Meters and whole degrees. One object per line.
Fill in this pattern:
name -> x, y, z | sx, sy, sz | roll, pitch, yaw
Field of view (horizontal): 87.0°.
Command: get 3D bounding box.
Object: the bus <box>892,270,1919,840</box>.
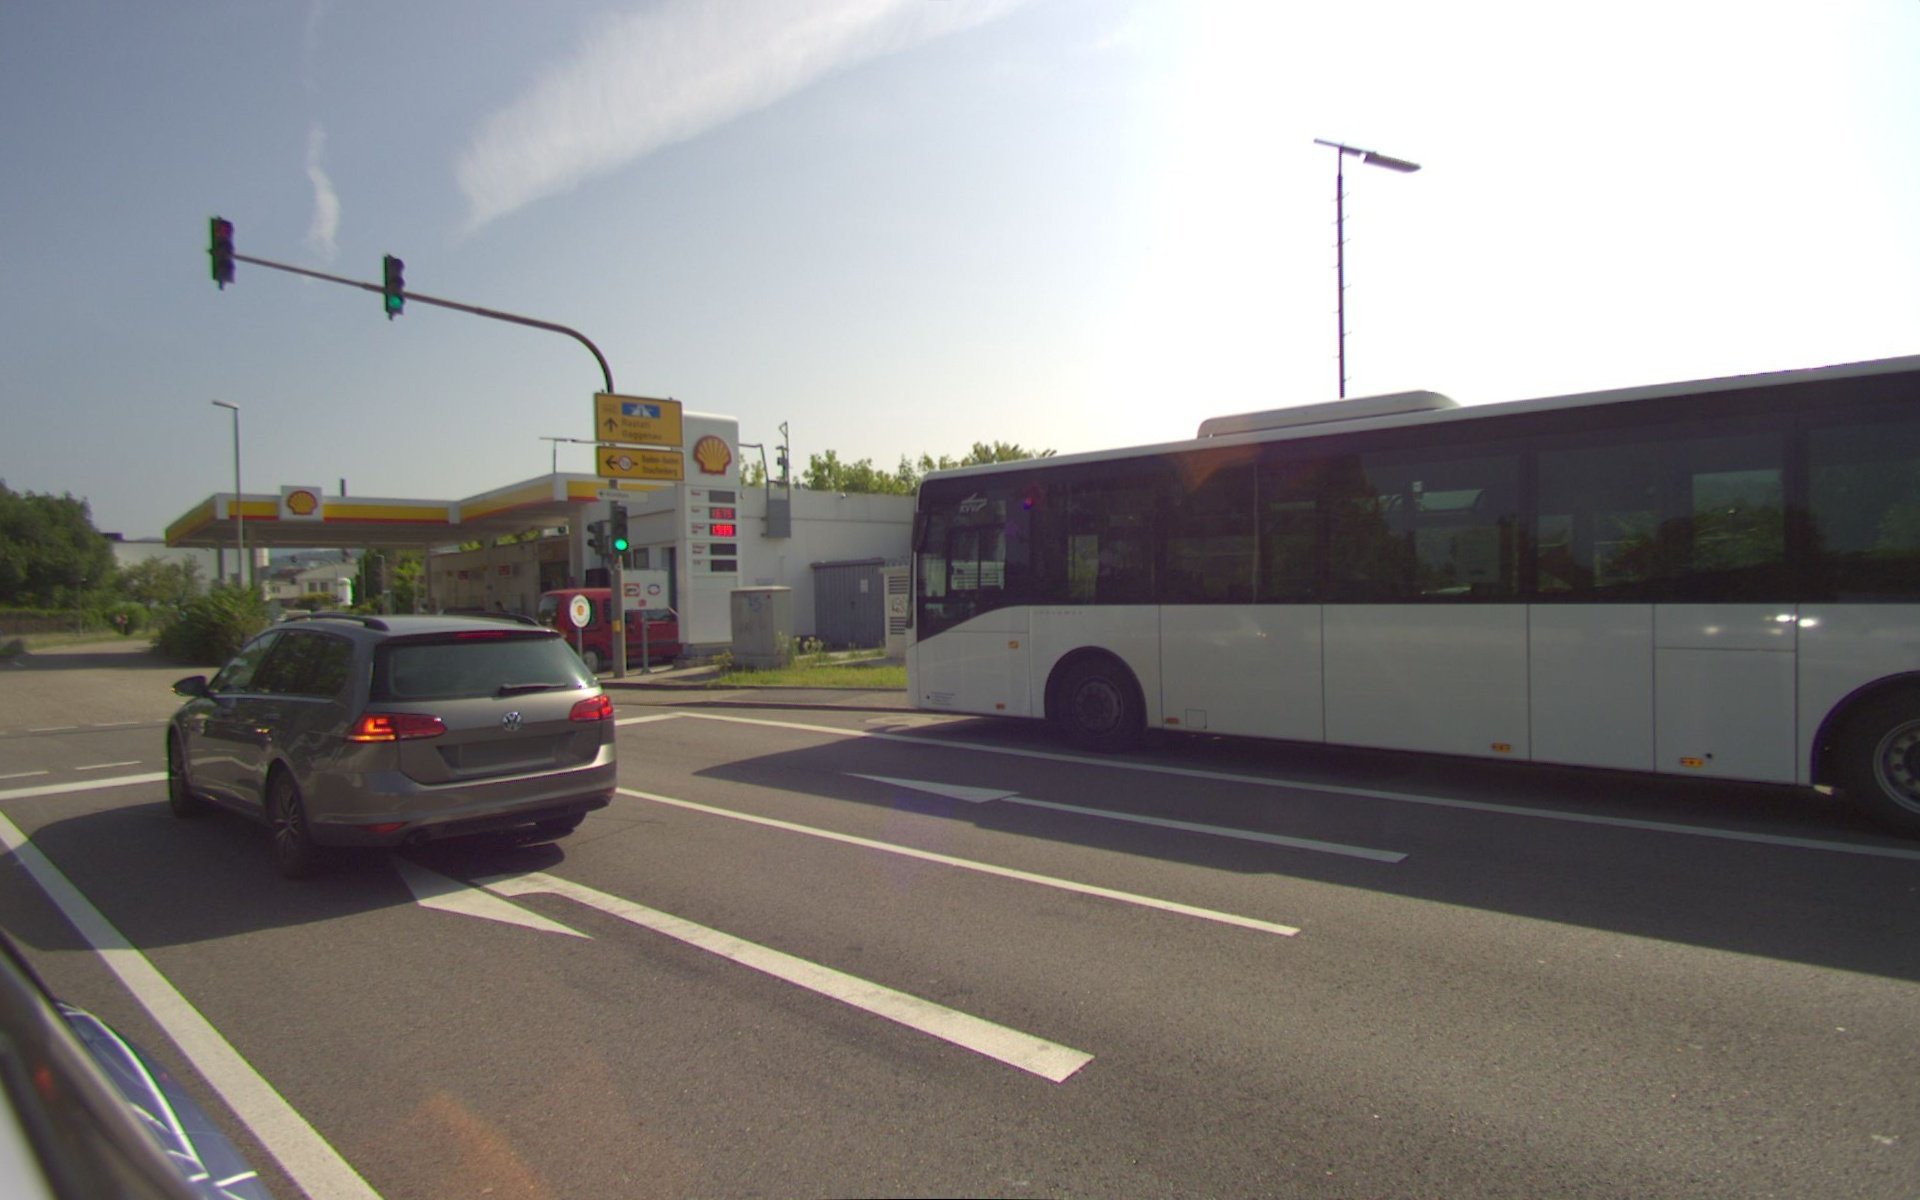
bus -> 4.586, -0.209, 8.541 | 11.950, 3.335, 2.593 | -1, -2, 41

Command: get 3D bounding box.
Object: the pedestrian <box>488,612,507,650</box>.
pedestrian -> -18.783, 1.256, 41.125 | 0.551, 1.559, 0.535 | 1, -2, -42

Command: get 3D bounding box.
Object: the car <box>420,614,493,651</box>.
car -> -20.593, 1.300, 41.318 | 1.608, 1.422, 4.233 | 1, -2, -42

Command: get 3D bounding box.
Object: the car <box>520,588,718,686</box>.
car -> -7.522, 0.764, 22.518 | 3.732, 1.809, 1.703 | -5, 2, -44

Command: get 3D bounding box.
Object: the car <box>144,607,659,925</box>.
car -> -3.951, 0.825, 6.818 | 4.218, 1.484, 1.753 | -1, -2, 42
